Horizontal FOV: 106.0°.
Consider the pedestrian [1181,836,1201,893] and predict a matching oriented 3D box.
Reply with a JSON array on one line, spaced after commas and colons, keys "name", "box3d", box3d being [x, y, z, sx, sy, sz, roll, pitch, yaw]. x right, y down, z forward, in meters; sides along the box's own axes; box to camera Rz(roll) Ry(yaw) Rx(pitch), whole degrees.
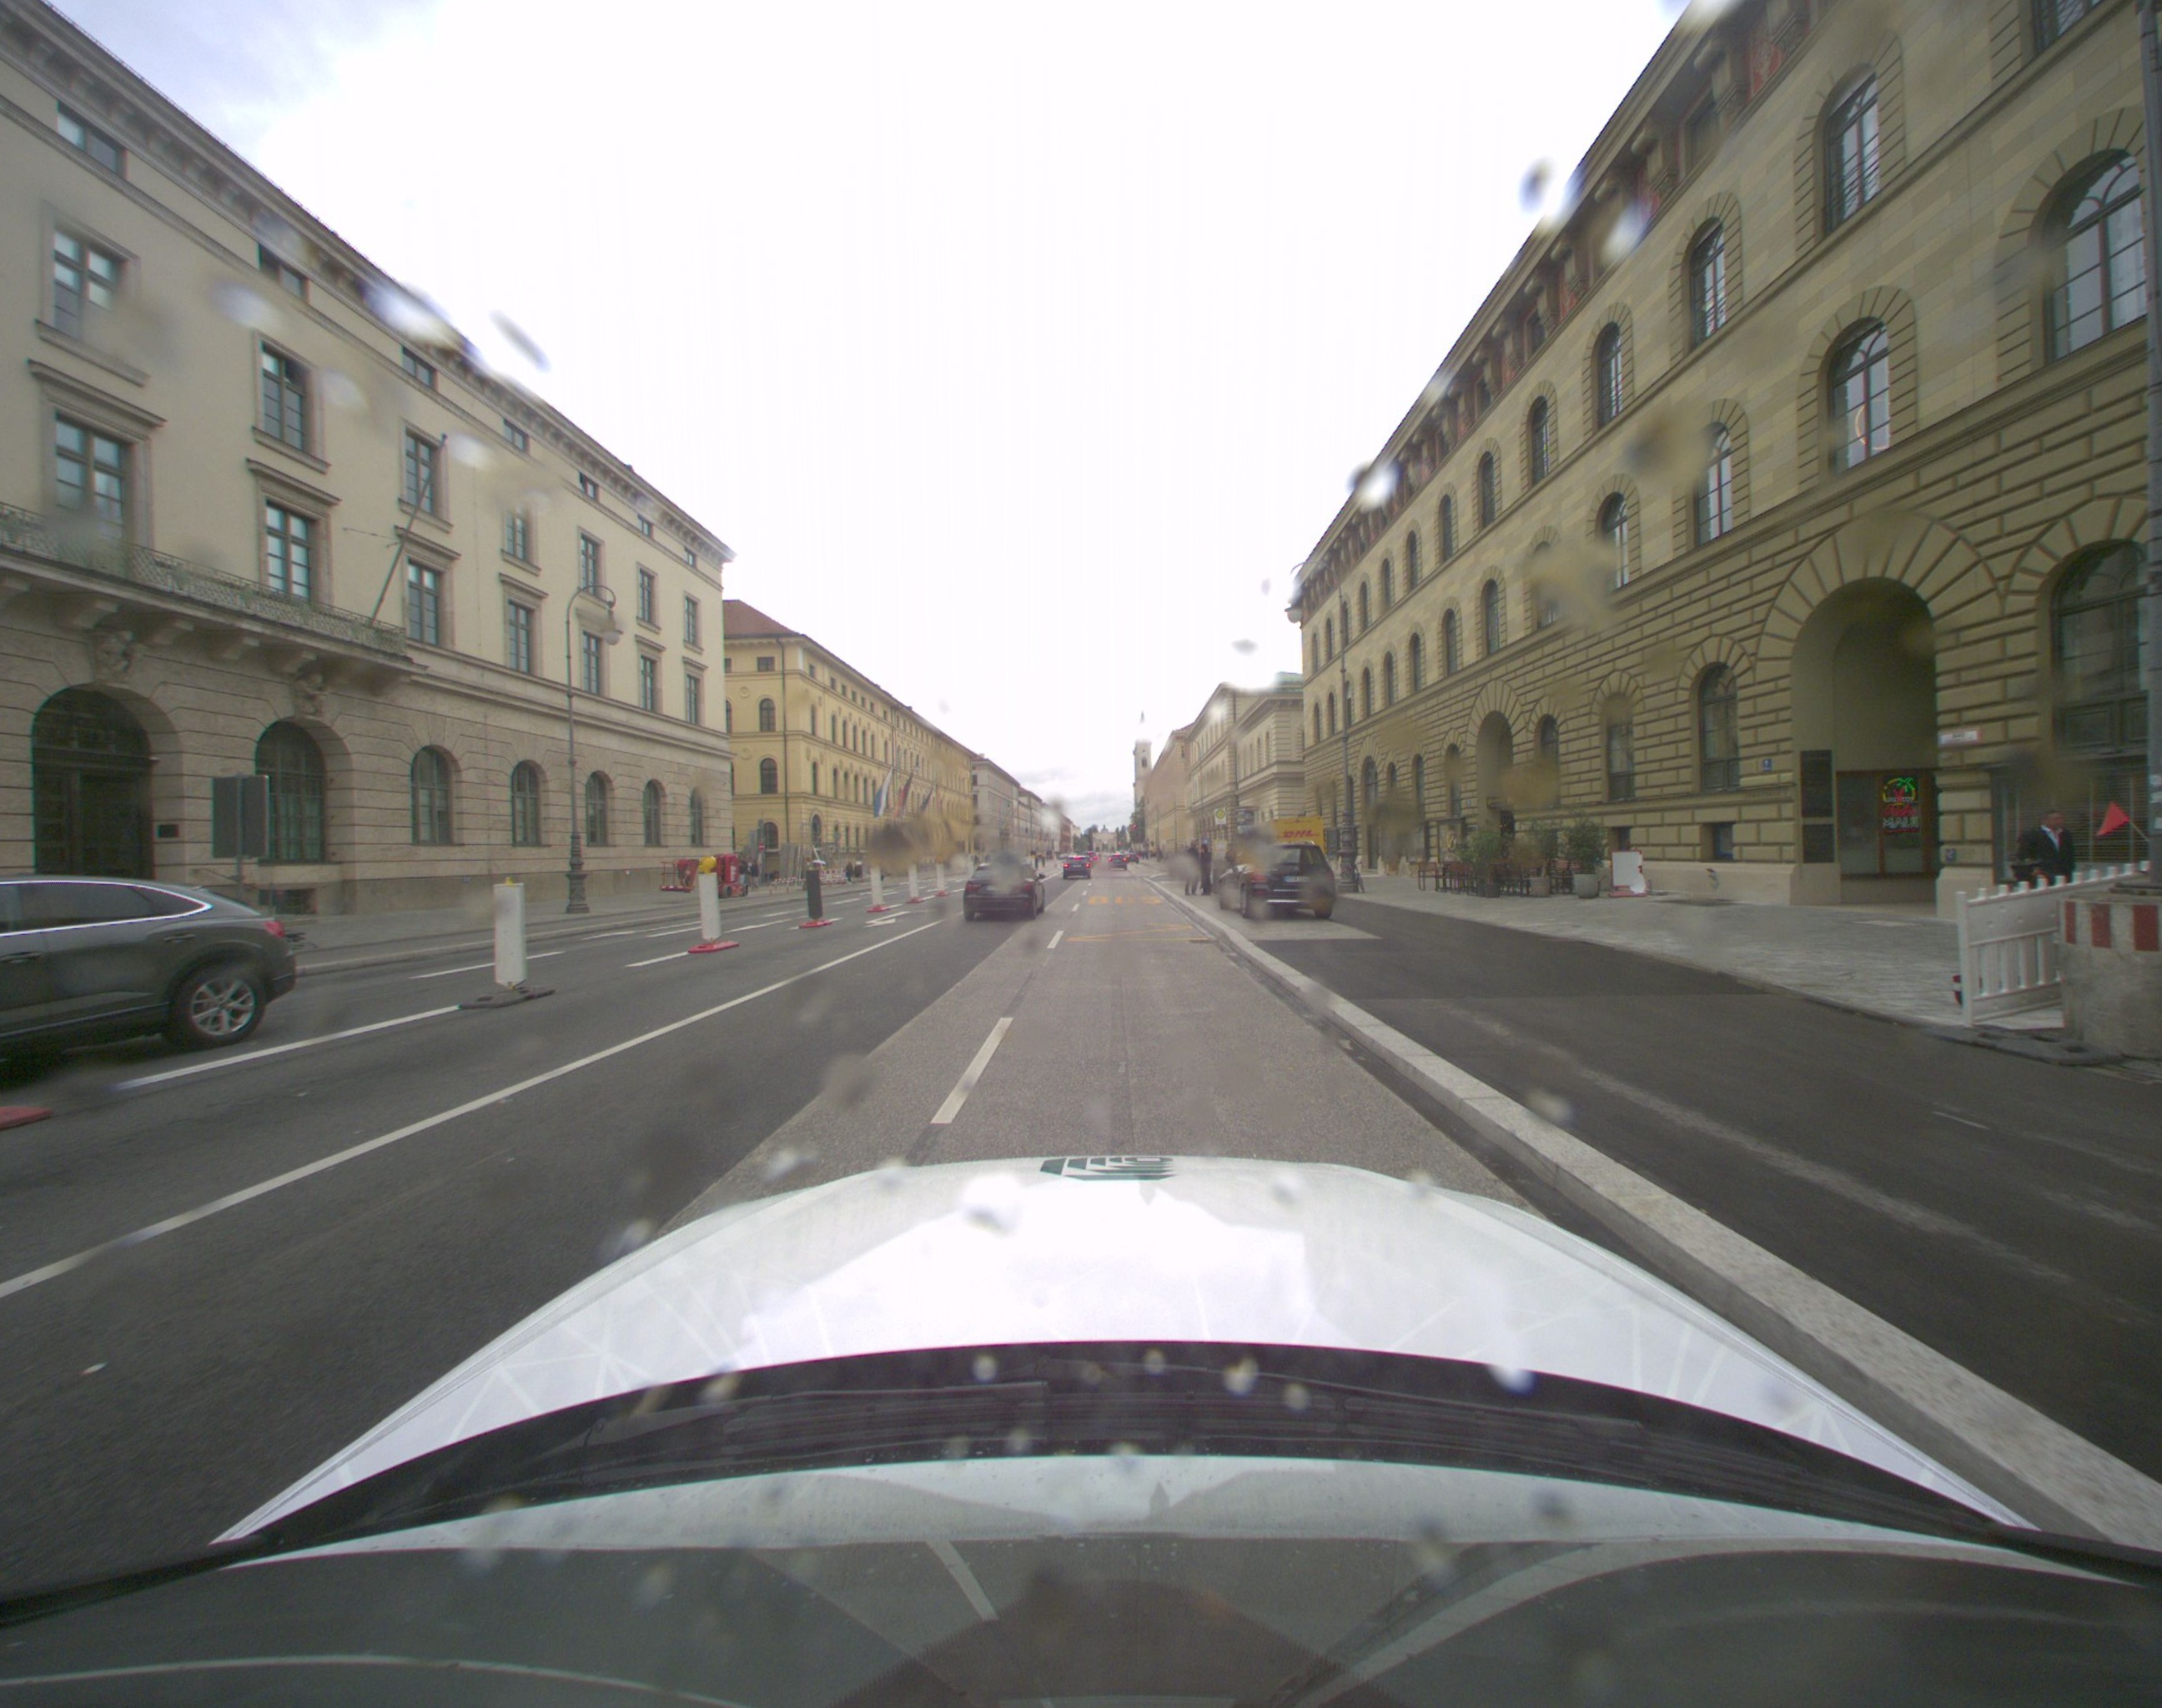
[{"name": "pedestrian", "box3d": [3.675, 0.355, 27.245, 0.612, 1.875, 0.542, -2, -1, 6]}]

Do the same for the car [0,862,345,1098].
[{"name": "car", "box3d": [-8.230, 0.923, 5.725, 1.779, 1.567, 4.578, -4, 0, 2]}]

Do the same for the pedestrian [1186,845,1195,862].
[{"name": "pedestrian", "box3d": [11.338, -0.035, 84.578, 0.794, 1.690, 0.800, -2, -1, 2]}]

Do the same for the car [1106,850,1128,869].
[{"name": "car", "box3d": [3.437, 0.498, 77.526, 1.985, 1.772, 4.003, -2, 0, 2]}]

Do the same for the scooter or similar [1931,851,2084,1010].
[{"name": "scooter or similar", "box3d": [8.000, 0.637, 7.034, 1.137, 1.250, 0.296, -3, -1, -12]}]

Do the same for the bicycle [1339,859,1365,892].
[{"name": "bicycle", "box3d": [8.927, 0.703, 26.868, 0.515, 1.022, 1.654, -2, -1, 9]}]

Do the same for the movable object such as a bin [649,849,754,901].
[{"name": "movable object such as a bin", "box3d": [-16.347, 0.895, 35.464, 1.505, 2.014, 5.979, -2, -1, 3]}]

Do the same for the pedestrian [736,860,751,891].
[{"name": "pedestrian", "box3d": [-18.084, 1.155, 43.642, 0.551, 1.676, 0.617, -1, -1, -2]}]

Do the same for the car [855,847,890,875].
[{"name": "car", "box3d": [-17.747, 0.643, 69.340, 1.731, 2.288, 4.002, -2, -1, 3]}]

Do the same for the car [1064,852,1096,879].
[{"name": "car", "box3d": [-0.023, 0.750, 52.008, 1.762, 1.617, 4.002, -2, -1, 3]}]

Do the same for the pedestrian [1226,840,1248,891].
[{"name": "pedestrian", "box3d": [5.287, 0.398, 27.605, 0.612, 1.702, 0.542, -2, -1, 5]}]

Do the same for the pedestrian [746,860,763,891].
[{"name": "pedestrian", "box3d": [-17.500, 1.153, 43.669, 0.610, 1.652, 0.617, -1, -1, -2]}]

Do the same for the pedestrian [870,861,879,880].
[{"name": "pedestrian", "box3d": [-15.855, 1.284, 62.625, 0.538, 1.406, 0.617, -1, -1, -1]}]

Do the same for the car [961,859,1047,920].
[{"name": "car", "box3d": [-1.871, 0.829, 20.949, 1.857, 1.388, 3.999, -1, 0, 0]}]

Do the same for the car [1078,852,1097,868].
[{"name": "car", "box3d": [0.741, 0.648, 90.164, 1.985, 1.772, 4.003, -2, 0, 2]}]

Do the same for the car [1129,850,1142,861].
[{"name": "car", "box3d": [8.598, 0.301, 128.954, 1.852, 1.578, 4.002, -2, -1, 2]}]

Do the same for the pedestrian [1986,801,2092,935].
[{"name": "pedestrian", "box3d": [12.676, 0.187, 10.798, 0.553, 1.712, 0.679, -2, -1, 11]}]

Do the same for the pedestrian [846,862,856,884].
[{"name": "pedestrian", "box3d": [-16.421, 1.340, 58.158, 0.551, 1.530, 0.617, -1, -1, -2]}]

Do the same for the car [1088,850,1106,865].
[{"name": "car", "box3d": [2.025, 0.366, 101.627, 1.985, 1.772, 4.003, -2, 0, 2]}]

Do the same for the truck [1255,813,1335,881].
[{"name": "truck", "box3d": [9.614, -0.251, 37.179, 2.609, 2.765, 5.816, -2, -1, 6]}]

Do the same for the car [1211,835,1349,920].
[{"name": "car", "box3d": [4.321, 0.472, 18.389, 2.062, 1.662, 4.221, -1, 0, -1]}]

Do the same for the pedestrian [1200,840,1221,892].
[{"name": "pedestrian", "box3d": [4.313, 0.412, 27.155, 0.612, 1.702, 0.542, -2, -1, 5]}]

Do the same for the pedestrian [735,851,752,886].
[{"name": "pedestrian", "box3d": [-19.192, 0.835, 46.368, 0.677, 1.931, 0.652, -1, -1, -2]}]

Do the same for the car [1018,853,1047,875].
[{"name": "car", "box3d": [-3.758, 0.772, 63.903, 1.762, 1.617, 4.002, -2, -1, 3]}]

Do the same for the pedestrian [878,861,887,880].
[{"name": "pedestrian", "box3d": [-15.262, 1.287, 62.592, 0.538, 1.411, 0.617, -1, -1, -1]}]
